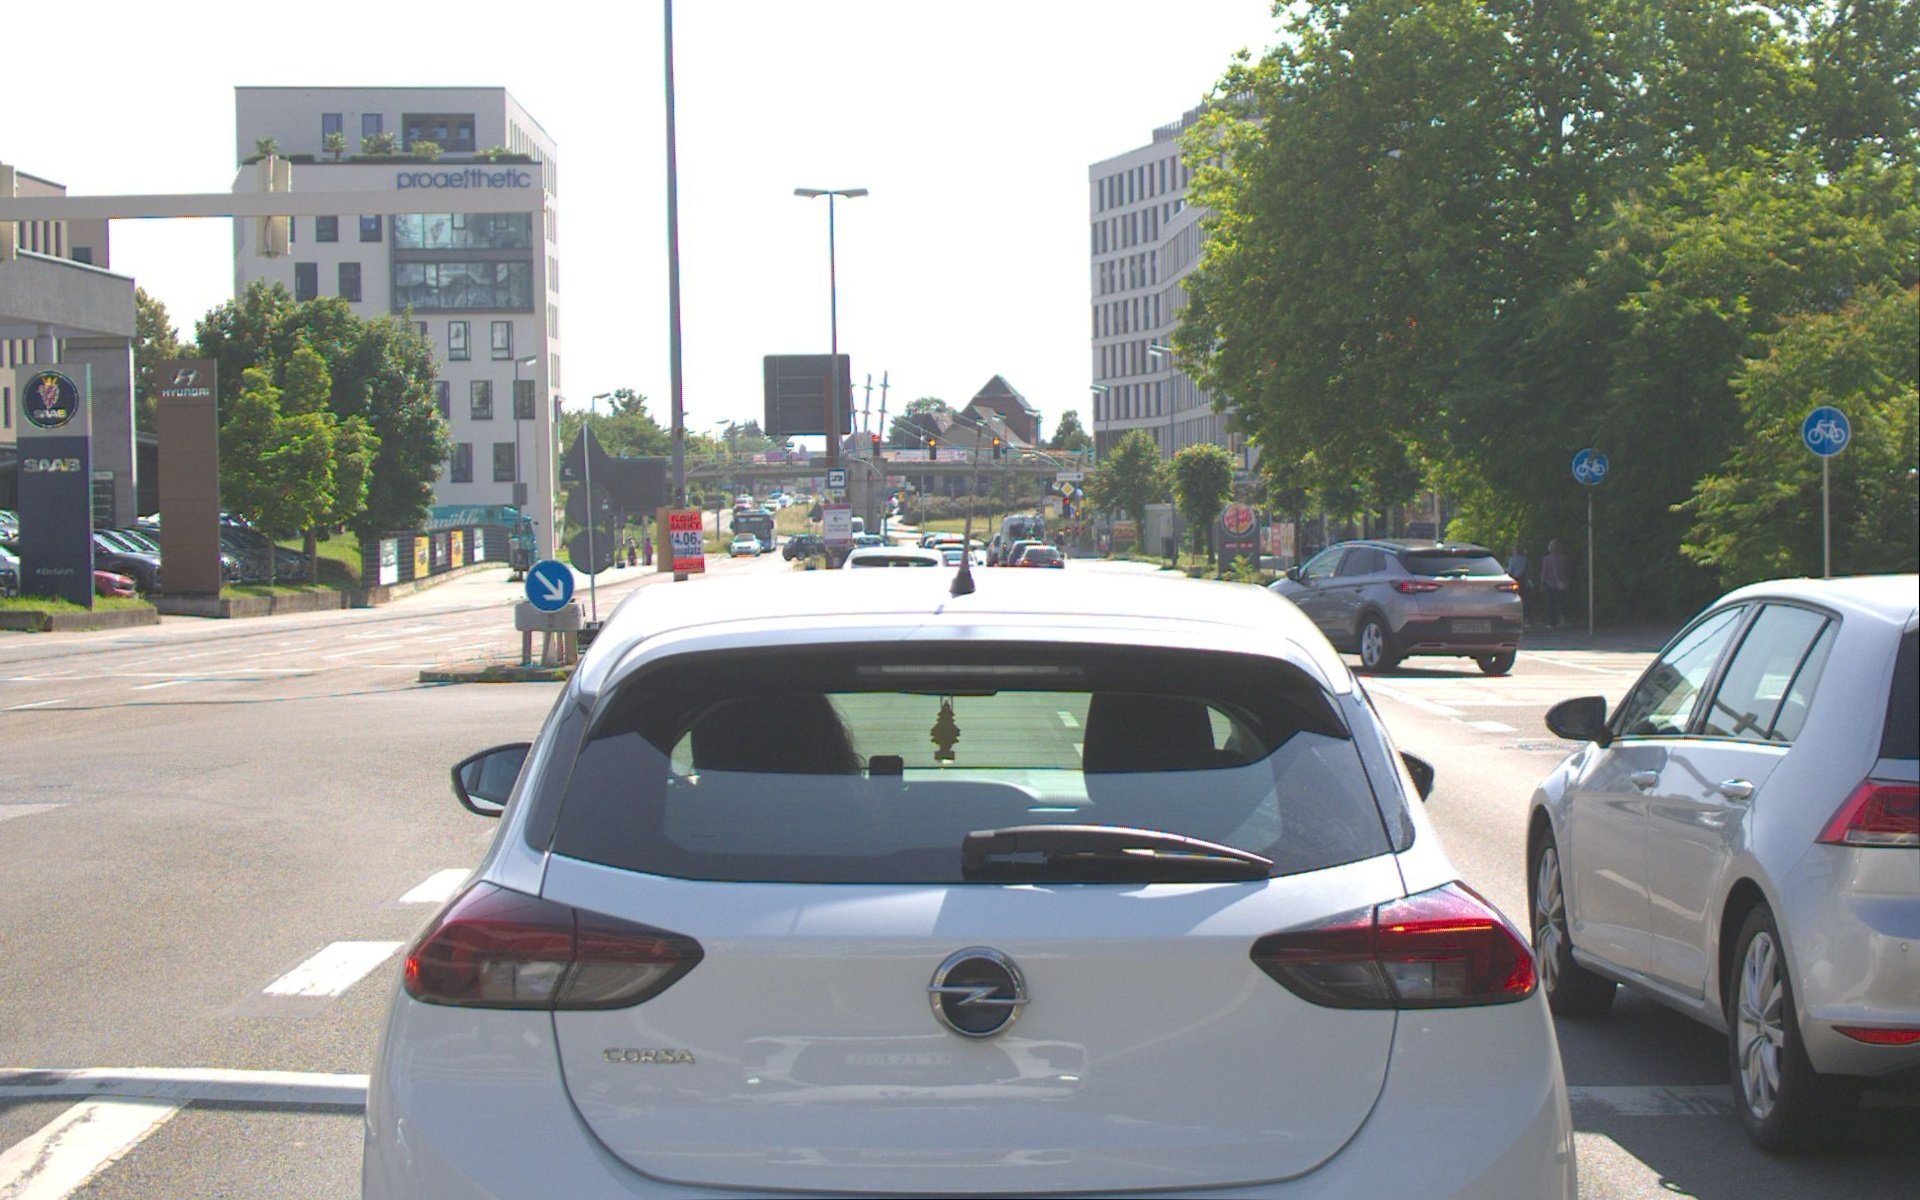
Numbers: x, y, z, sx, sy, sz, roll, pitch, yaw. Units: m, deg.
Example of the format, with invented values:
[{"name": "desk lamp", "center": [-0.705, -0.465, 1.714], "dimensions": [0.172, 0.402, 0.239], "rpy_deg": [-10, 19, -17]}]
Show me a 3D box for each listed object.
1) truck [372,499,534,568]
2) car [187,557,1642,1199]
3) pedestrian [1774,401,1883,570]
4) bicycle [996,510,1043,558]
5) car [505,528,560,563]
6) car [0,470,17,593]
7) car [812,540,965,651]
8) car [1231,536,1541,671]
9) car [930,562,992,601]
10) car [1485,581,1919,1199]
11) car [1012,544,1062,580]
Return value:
[{"name": "truck", "center": [-29.207, -3.806, 197.944], "dimensions": [9.058, 3.821, 3.082], "rpy_deg": [-1, 1, -10]}, {"name": "car", "center": [-0.077, 0.685, 6.229], "dimensions": [1.779, 1.489, 4.000], "rpy_deg": [-1, 1, -1]}, {"name": "pedestrian", "center": [10.479, -1.370, 41.499], "dimensions": [1.027, 2.007, 1.039], "rpy_deg": [-1, 1, -1]}, {"name": "bicycle", "center": [2.689, -2.984, 155.490], "dimensions": [1.993, 2.150, 4.000], "rpy_deg": [-1, 1, -1]}, {"name": "car", "center": [-17.651, -2.241, 142.074], "dimensions": [1.806, 1.381, 4.000], "rpy_deg": [1, 0, -1]}, {"name": "car", "center": [-22.519, -1.429, 72.992], "dimensions": [4.357, 2.592, 2.000], "rpy_deg": [-1, 1, 5]}, {"name": "car", "center": [-1.025, -0.089, 46.976], "dimensions": [1.993, 1.442, 4.371], "rpy_deg": [0, 1, -2]}, {"name": "car", "center": [5.172, 0.008, 42.348], "dimensions": [1.993, 1.546, 4.435], "rpy_deg": [-1, 1, -20]}, {"name": "car", "center": [0.006, -0.664, 123.606], "dimensions": [1.993, 1.327, 4.000], "rpy_deg": [1, 0, -3]}, {"name": "car", "center": [2.751, 0.672, 9.873], "dimensions": [1.807, 1.424, 4.000], "rpy_deg": [-1, 1, -1]}, {"name": "car", "center": [3.028, -1.476, 135.078], "dimensions": [1.806, 1.381, 4.000], "rpy_deg": [1, 0, -1]}]
